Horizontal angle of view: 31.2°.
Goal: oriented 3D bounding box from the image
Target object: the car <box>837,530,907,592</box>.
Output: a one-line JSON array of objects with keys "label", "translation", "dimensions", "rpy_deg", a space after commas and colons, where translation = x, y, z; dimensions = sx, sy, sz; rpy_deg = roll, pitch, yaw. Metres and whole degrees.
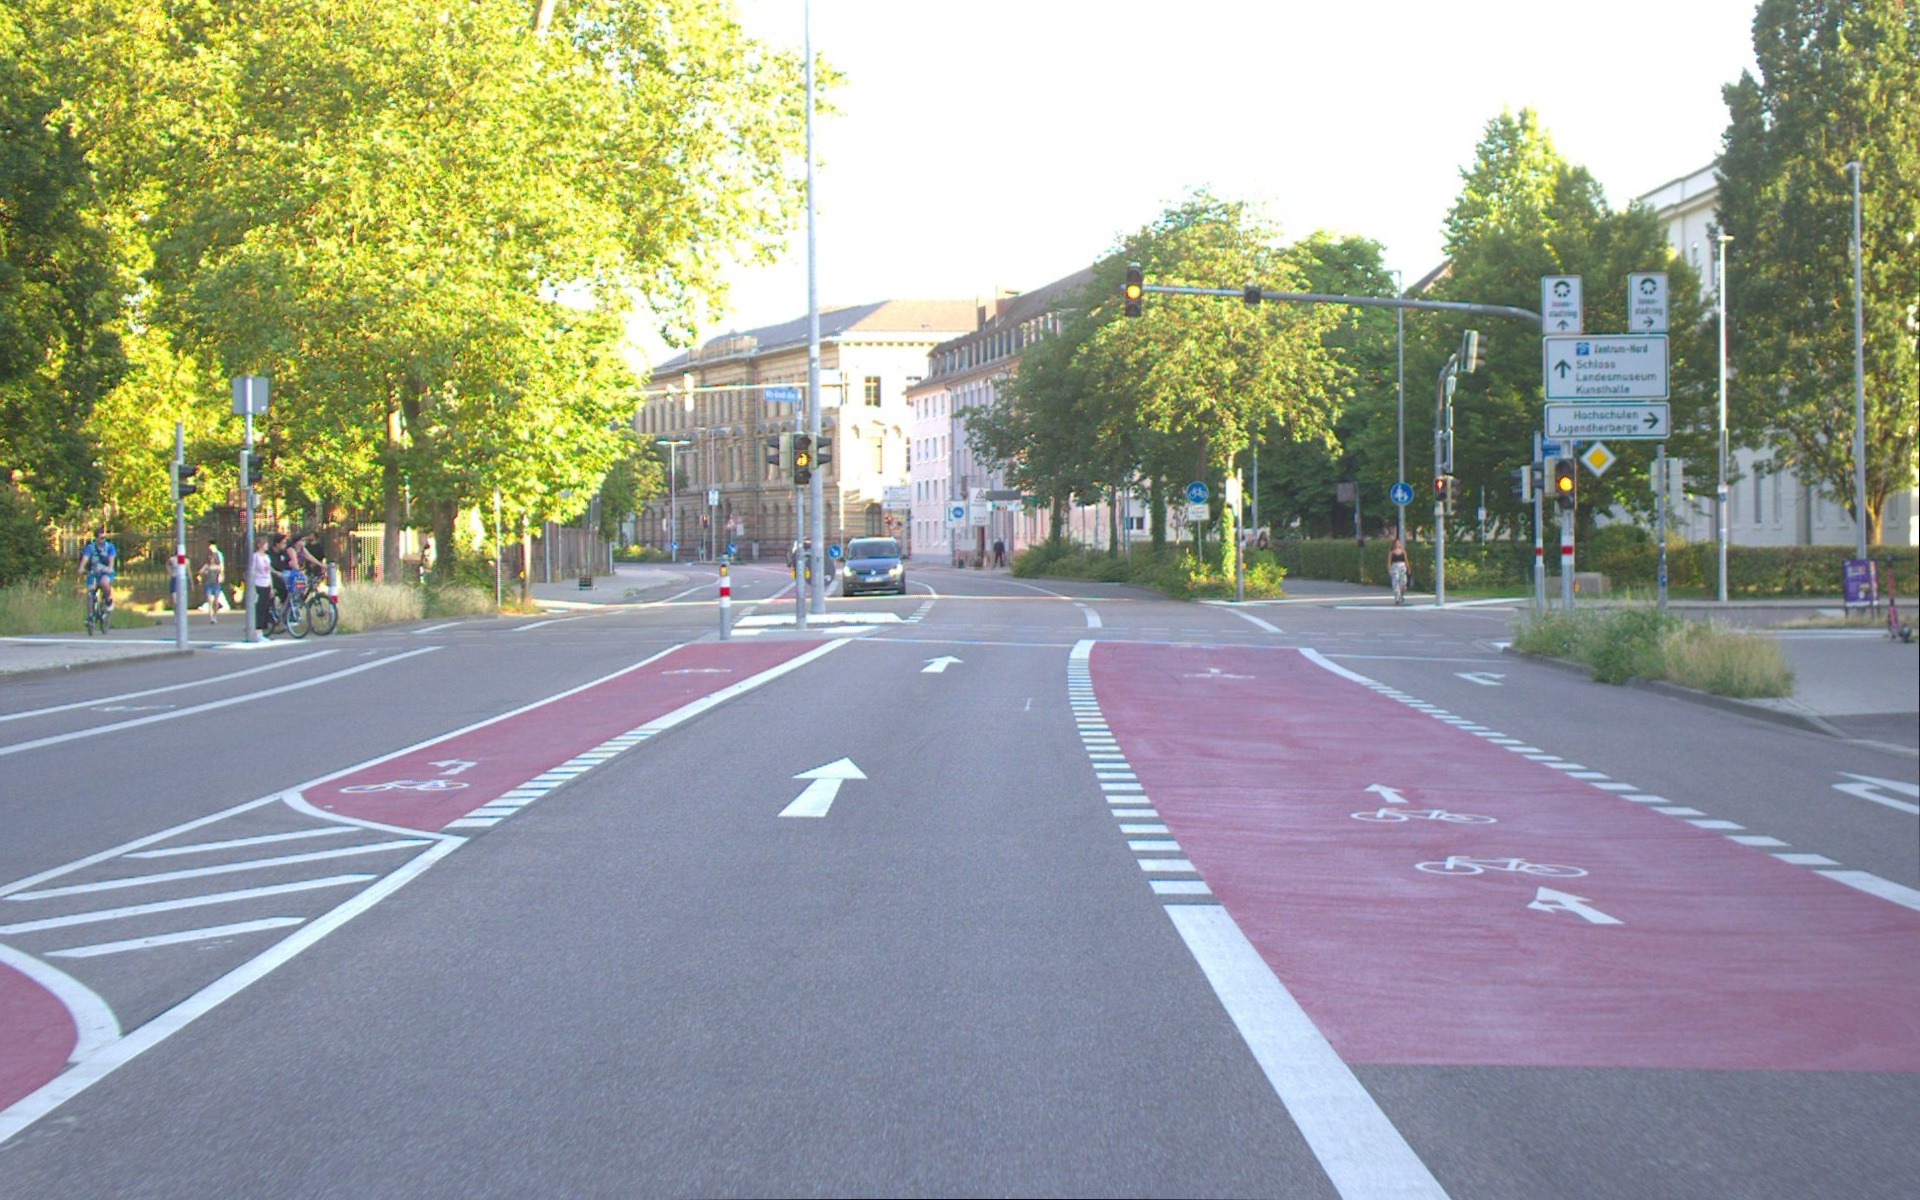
[{"label": "car", "translation": [-2.503, -1.135, 98.287], "dimensions": [1.849, 1.714, 4.296], "rpy_deg": [0, 1, 1]}]

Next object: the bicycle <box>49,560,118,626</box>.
[{"label": "bicycle", "translation": [-15.152, -0.127, 59.452], "dimensions": [0.770, 1.097, 2.123], "rpy_deg": [0, 1, -4]}]

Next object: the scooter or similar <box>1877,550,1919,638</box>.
[{"label": "scooter or similar", "translation": [13.237, -0.095, 48.451], "dimensions": [0.311, 1.227, 1.311], "rpy_deg": [0, 1, 2]}]

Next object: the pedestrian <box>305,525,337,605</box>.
[{"label": "pedestrian", "translation": [-16.163, -0.892, 86.997], "dimensions": [0.640, 2.007, 0.701], "rpy_deg": [0, 1, 4]}]

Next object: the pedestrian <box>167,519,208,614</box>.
[{"label": "pedestrian", "translation": [-16.372, -0.714, 72.842], "dimensions": [0.649, 2.007, 0.606], "rpy_deg": [0, 1, -36]}]

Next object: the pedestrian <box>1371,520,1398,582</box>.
[{"label": "pedestrian", "translation": [11.380, -1.319, 92.143], "dimensions": [0.599, 1.630, 0.691], "rpy_deg": [1, 1, 0]}]

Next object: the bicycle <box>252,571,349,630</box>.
[{"label": "bicycle", "translation": [-11.665, 0.005, 60.797], "dimensions": [1.769, 1.026, 0.578], "rpy_deg": [0, 1, 33]}]

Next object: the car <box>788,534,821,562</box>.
[{"label": "car", "translation": [-9.054, -3.045, 200.076], "dimensions": [1.819, 1.583, 4.001], "rpy_deg": [-1, 1, -3]}]

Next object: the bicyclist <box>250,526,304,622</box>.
[{"label": "bicyclist", "translation": [-11.777, -0.457, 59.262], "dimensions": [0.638, 1.644, 0.629], "rpy_deg": [0, 1, 33]}]

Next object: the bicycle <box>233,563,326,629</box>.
[{"label": "bicycle", "translation": [-11.727, -0.076, 59.236], "dimensions": [1.566, 1.107, 0.632], "rpy_deg": [0, 1, 33]}]

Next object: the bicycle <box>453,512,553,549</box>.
[{"label": "bicycle", "translation": [-11.647, -1.772, 87.601], "dimensions": [2.430, 0.921, 0.775], "rpy_deg": [0, 1, 3]}]

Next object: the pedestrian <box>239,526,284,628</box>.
[{"label": "pedestrian", "translation": [-11.604, -0.390, 57.103], "dimensions": [0.607, 1.690, 0.498], "rpy_deg": [0, 1, 3]}]

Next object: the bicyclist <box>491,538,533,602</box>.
[{"label": "bicyclist", "translation": [-11.410, -0.766, 87.585], "dimensions": [0.958, 1.625, 0.753], "rpy_deg": [0, 1, 3]}]

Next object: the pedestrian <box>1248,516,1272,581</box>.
[{"label": "pedestrian", "translation": [9.367, -1.610, 107.209], "dimensions": [0.635, 2.007, 0.720], "rpy_deg": [1, 1, -2]}]

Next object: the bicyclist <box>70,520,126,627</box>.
[{"label": "bicyclist", "translation": [-14.862, -0.466, 59.276], "dimensions": [0.735, 1.817, 0.712], "rpy_deg": [-1, 1, 0]}]

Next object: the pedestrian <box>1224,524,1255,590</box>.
[{"label": "pedestrian", "translation": [8.672, -1.341, 106.706], "dimensions": [0.870, 2.007, 0.722], "rpy_deg": [1, 1, 2]}]

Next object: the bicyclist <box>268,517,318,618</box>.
[{"label": "bicyclist", "translation": [-11.812, -0.580, 60.889], "dimensions": [0.638, 1.774, 0.575], "rpy_deg": [0, 1, 33]}]
